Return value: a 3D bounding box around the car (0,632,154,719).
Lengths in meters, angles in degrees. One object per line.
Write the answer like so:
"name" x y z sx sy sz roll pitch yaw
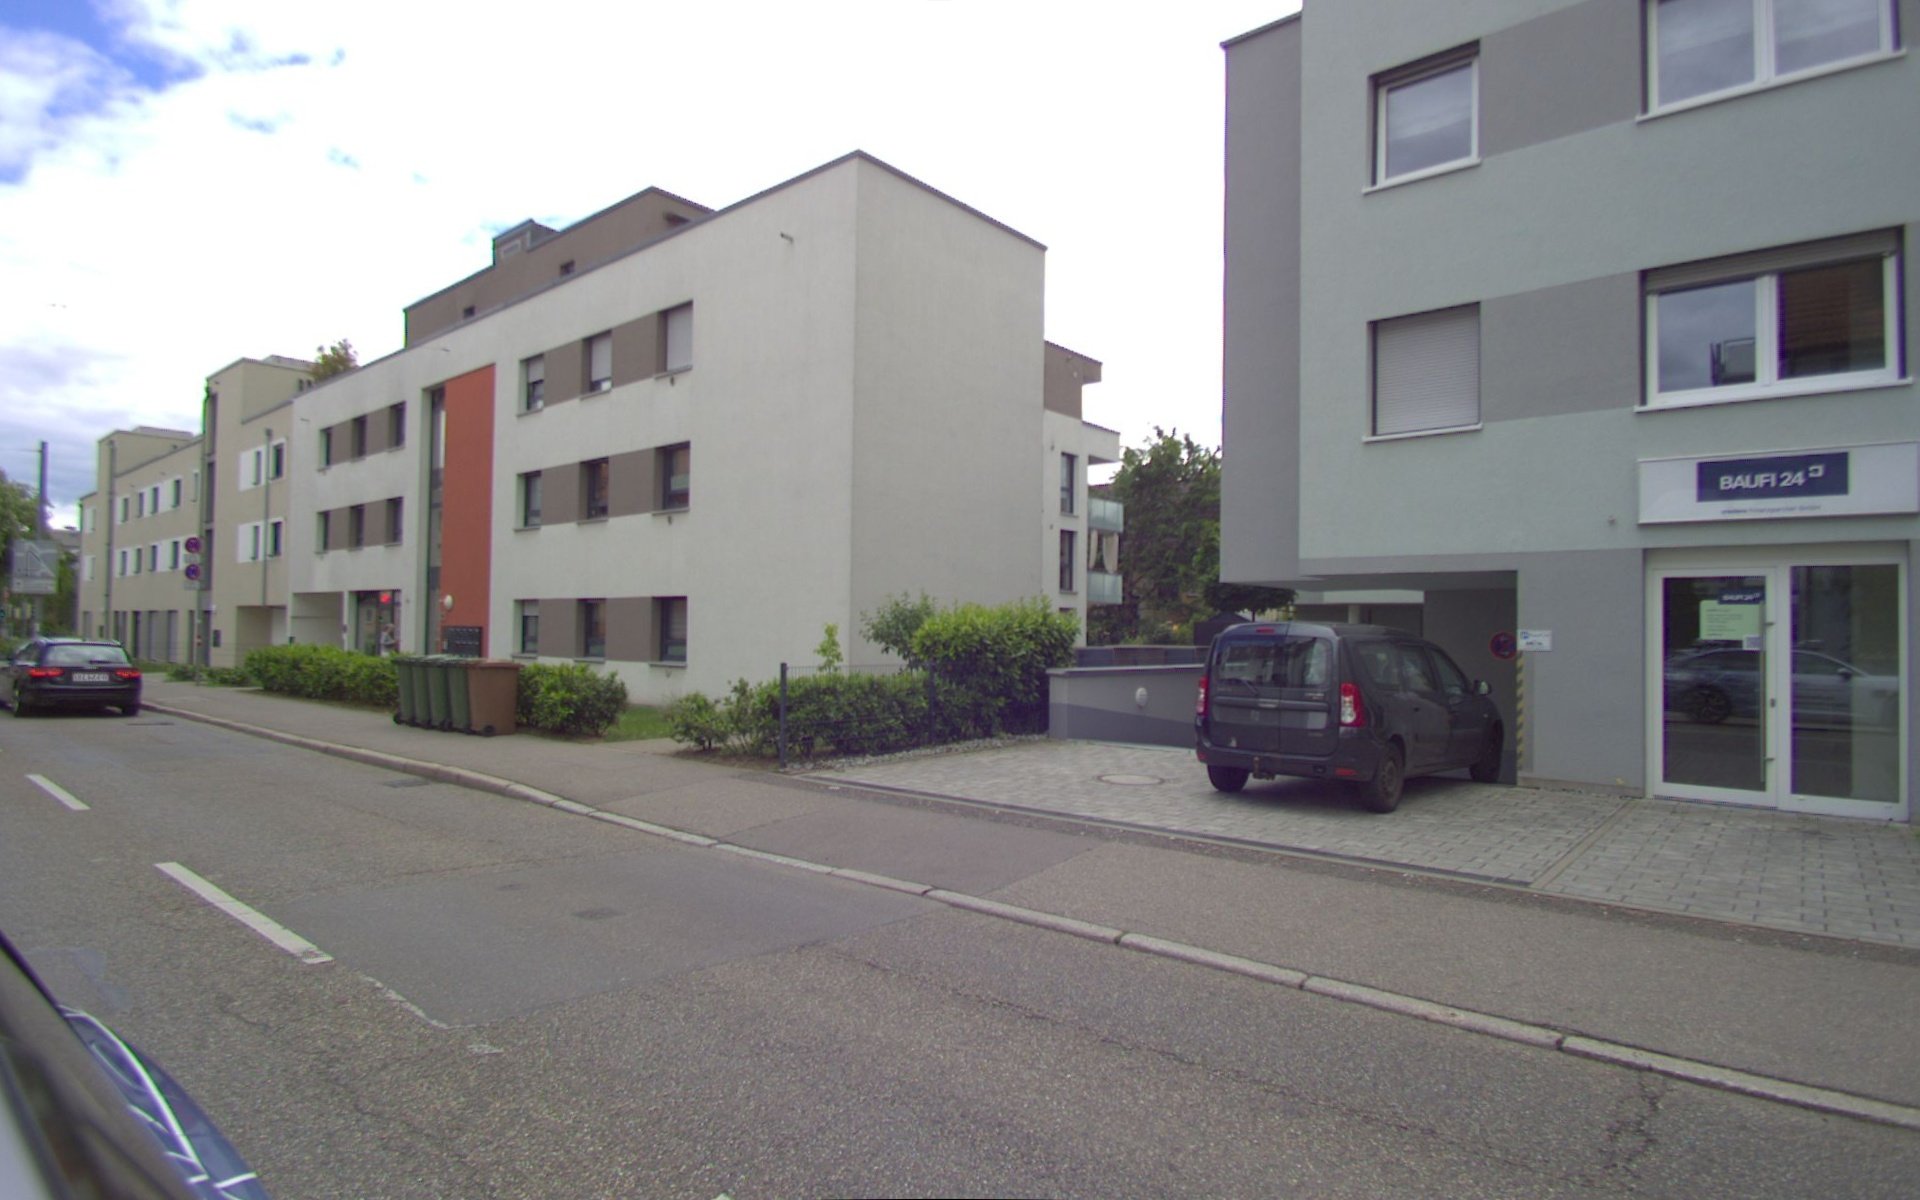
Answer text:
"car" -16.969 1.381 19.135 4.211 1.462 1.859 -1 -5 41

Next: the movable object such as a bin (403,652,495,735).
"movable object such as a bin" -7.653 1.377 15.183 0.839 1.160 0.947 -1 -2 36

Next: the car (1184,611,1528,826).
"car" 4.070 0.997 10.021 1.725 1.680 4.116 -1 -2 44

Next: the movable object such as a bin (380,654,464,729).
"movable object such as a bin" -8.334 1.399 15.696 0.791 1.097 0.886 -1 -2 36

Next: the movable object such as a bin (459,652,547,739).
"movable object such as a bin" -6.411 1.318 14.222 0.611 1.160 0.932 -1 -2 36

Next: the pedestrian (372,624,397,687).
"pedestrian" -15.301 1.460 26.921 0.511 1.655 0.642 1 -2 -26

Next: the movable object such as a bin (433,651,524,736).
"movable object such as a bin" -6.963 1.327 14.663 0.748 1.160 0.940 -1 -2 36
